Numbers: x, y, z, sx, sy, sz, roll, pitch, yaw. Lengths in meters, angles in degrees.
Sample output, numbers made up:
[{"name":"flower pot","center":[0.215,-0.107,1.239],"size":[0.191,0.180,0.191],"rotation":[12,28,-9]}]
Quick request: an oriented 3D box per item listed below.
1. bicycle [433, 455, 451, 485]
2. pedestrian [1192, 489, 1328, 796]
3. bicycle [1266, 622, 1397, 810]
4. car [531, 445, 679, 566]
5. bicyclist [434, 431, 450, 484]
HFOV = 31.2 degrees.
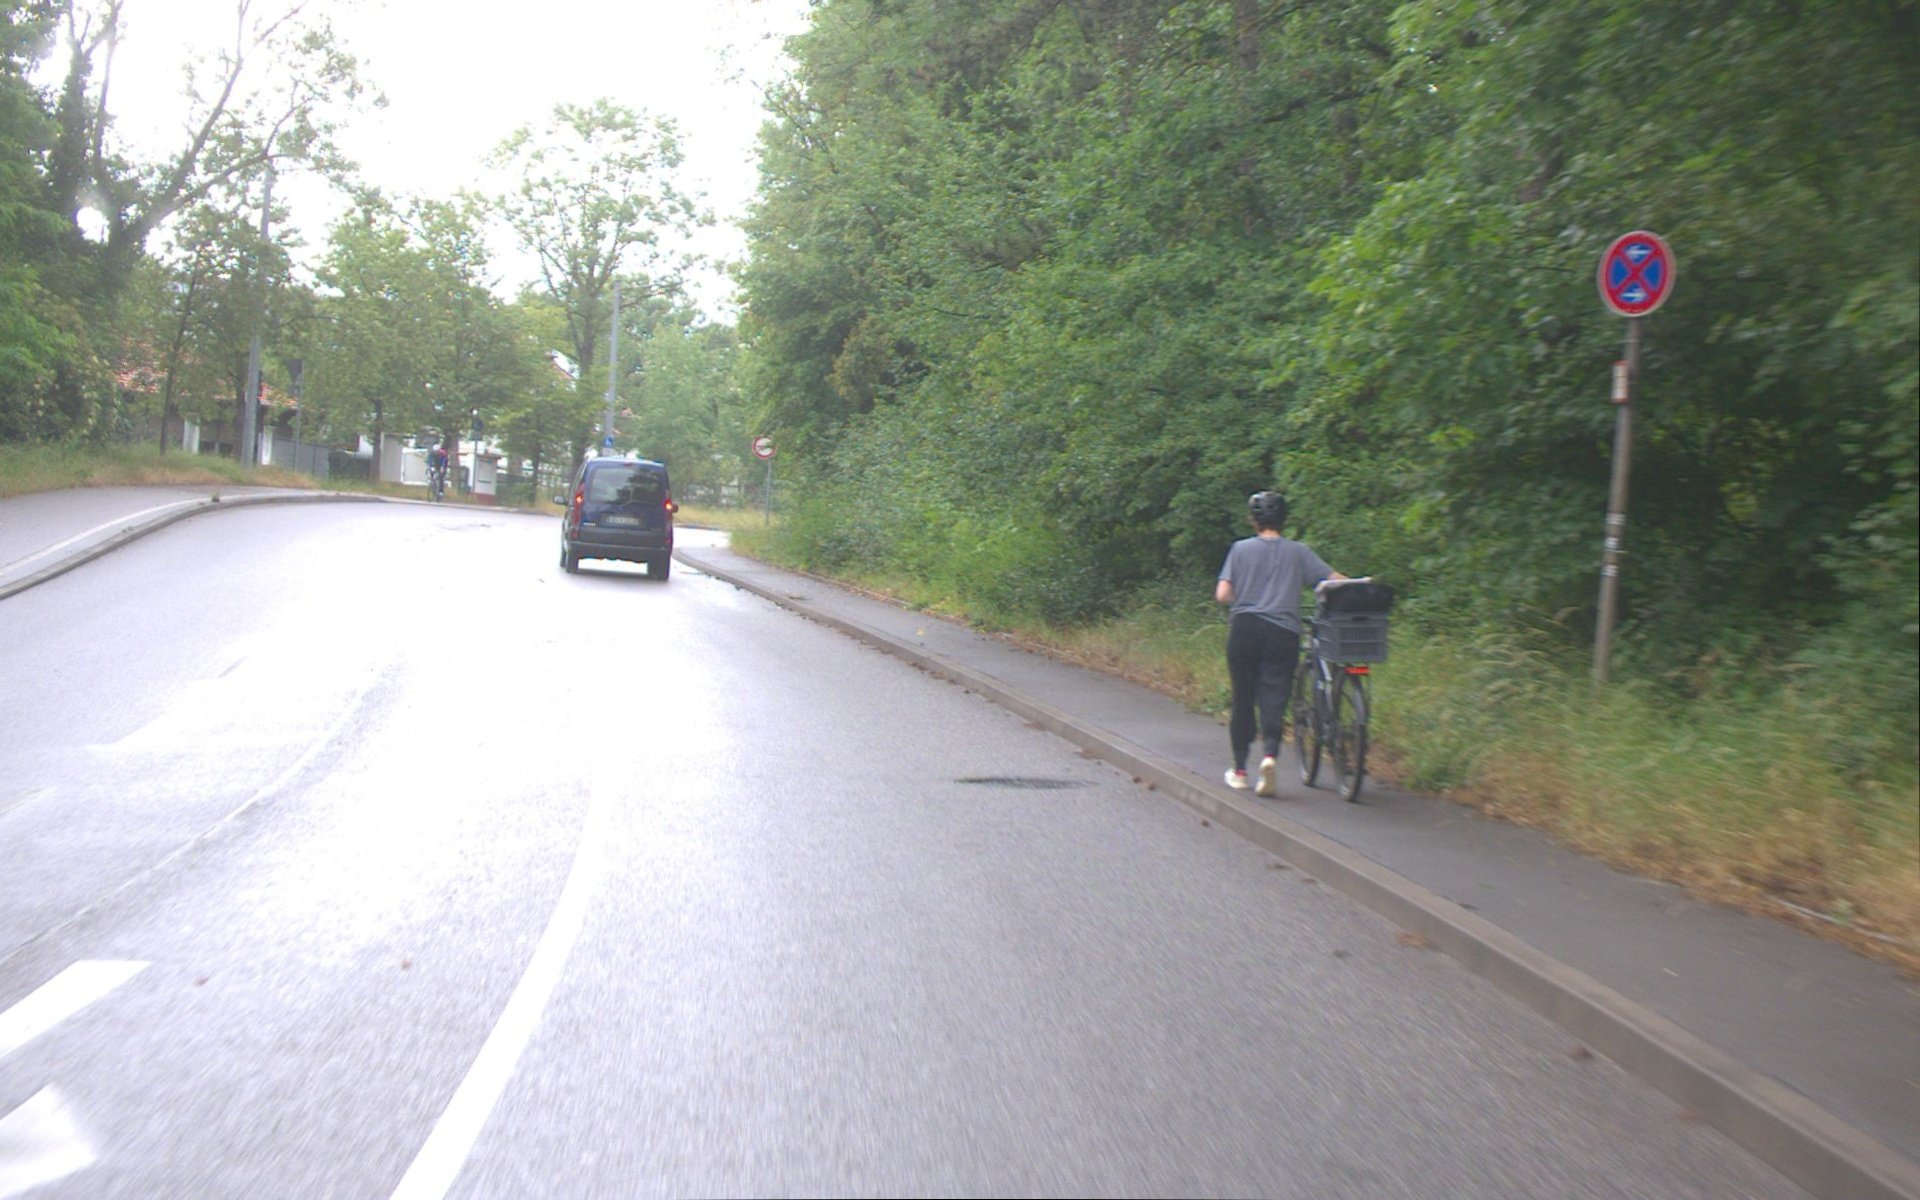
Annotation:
[{"name":"bicycle","center":[-15.601,-3.928,103.540],"size":[0.355,0.846,2.094],"rotation":[3,3,-5]},{"name":"pedestrian","center":[1.577,0.225,18.128],"size":[0.564,1.571,0.770],"rotation":[1,-1,-5]},{"name":"bicycle","center":[1.943,0.588,18.139],"size":[0.355,0.846,1.743],"rotation":[-1,3,-5]},{"name":"car","center":[-5.661,-1.457,54.436],"size":[1.826,1.788,4.001],"rotation":[1,0,-13]},{"name":"bicyclist","center":[-15.585,-4.280,103.514],"size":[0.336,1.569,1.298],"rotation":[3,2,-6]}]
